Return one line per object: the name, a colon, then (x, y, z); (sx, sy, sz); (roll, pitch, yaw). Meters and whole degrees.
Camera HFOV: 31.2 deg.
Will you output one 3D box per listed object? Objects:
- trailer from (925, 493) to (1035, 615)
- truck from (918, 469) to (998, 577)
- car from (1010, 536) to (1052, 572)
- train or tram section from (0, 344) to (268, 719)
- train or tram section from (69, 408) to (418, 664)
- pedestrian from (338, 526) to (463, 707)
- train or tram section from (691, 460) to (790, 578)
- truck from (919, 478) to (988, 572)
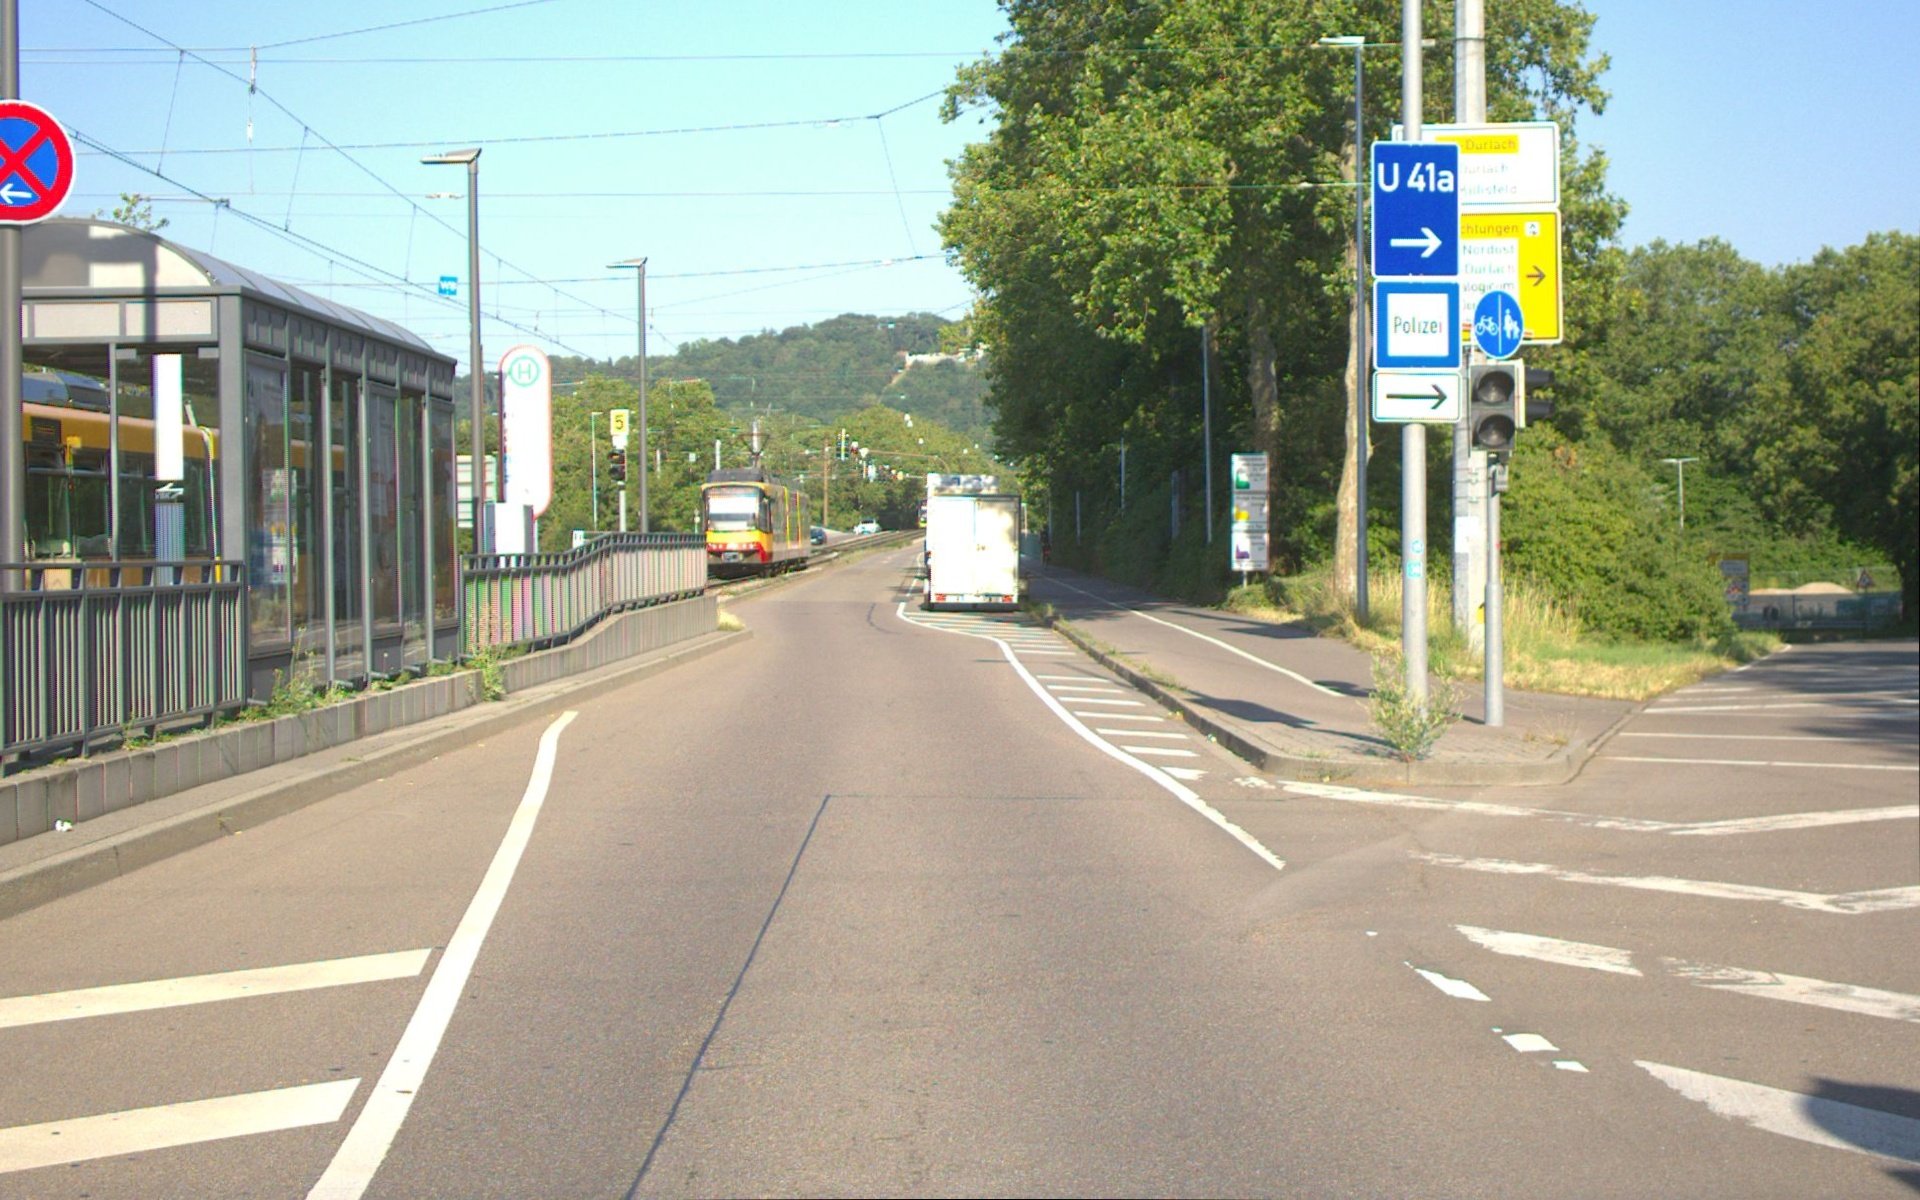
trailer: (0.507, -1.063, 78.811); (2.251, 2.685, 5.946); (0, 1, 3)
truck: (-0.126, -2.816, 126.546); (2.742, 3.770, 10.090); (1, 1, -1)
car: (2.864, -1.864, 138.937); (1.653, 1.432, 3.777); (0, 1, 1)
train or tram section: (-11.575, -0.813, 41.992); (2.827, 3.992, 15.875); (1, 1, 1)
train or tram section: (-11.420, -1.017, 56.357); (2.827, 3.674, 12.969); (1, 1, 1)
pedestrian: (-4.682, 0.129, 28.794); (0.761, 1.488, 0.693); (1, 1, 34)
train or tram section: (-8.063, -2.979, 127.815); (2.721, 4.077, 13.616); (-1, 1, 0)
truck: (-0.310, -3.154, 145.469); (2.717, 3.770, 9.762); (1, 1, -1)
